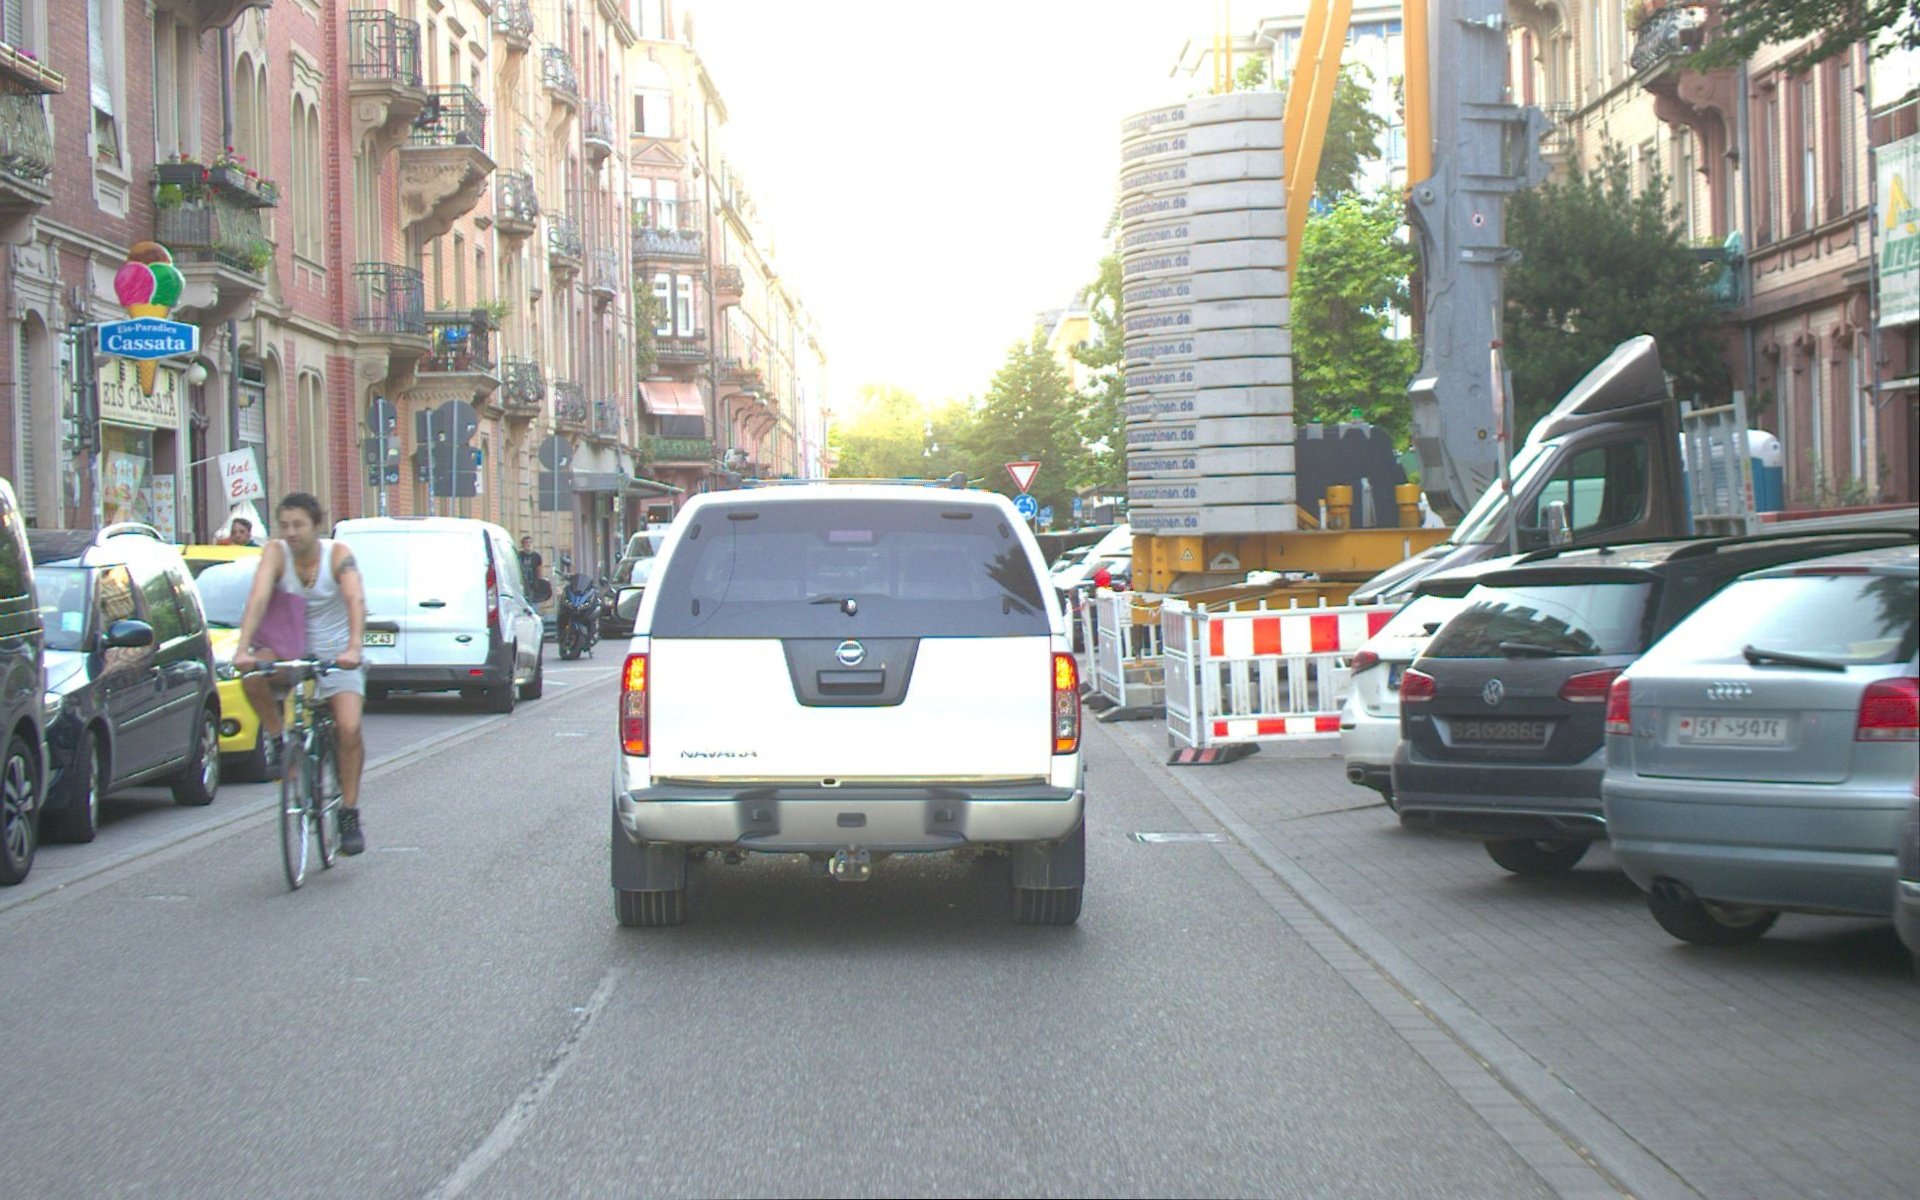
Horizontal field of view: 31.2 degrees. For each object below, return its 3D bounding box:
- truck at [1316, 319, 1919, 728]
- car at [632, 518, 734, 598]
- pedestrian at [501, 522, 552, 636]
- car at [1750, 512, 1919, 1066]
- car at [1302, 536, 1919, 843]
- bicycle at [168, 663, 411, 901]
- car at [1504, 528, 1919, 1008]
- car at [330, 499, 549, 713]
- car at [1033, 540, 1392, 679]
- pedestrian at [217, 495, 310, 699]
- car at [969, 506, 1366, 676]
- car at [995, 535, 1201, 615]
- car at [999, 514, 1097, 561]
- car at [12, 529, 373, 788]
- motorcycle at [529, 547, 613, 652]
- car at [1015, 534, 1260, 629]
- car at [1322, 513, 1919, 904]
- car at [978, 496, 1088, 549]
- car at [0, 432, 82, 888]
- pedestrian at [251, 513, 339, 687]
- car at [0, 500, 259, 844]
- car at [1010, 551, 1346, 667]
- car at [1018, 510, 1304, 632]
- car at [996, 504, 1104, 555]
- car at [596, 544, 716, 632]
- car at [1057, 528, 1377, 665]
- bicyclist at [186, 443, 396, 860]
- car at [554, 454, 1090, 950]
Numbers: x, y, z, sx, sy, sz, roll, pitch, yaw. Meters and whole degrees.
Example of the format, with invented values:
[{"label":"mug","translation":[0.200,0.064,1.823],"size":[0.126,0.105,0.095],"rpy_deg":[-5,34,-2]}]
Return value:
[{"label":"truck","translation":[5.990,-0.530,26.243],"size":[6.320,2.966,2.264],"rpy_deg":[0,-2,1]},{"label":"car","translation":[-5.427,-0.839,67.693],"size":[1.710,1.525,4.000],"rpy_deg":[0,1,-1]},{"label":"pedestrian","translation":[-7.739,-0.376,61.403],"size":[0.788,2.007,0.934],"rpy_deg":[0,1,-1]},{"label":"car","translation":[4.443,0.434,10.082],"size":[3.824,1.525,1.763],"rpy_deg":[-3,1,-26]},{"label":"car","translation":[3.716,0.402,18.097],"size":[3.548,1.459,1.611],"rpy_deg":[-1,1,-31]},{"label":"bicycle","translation":[-3.032,0.798,15.741],"size":[0.800,0.944,2.005],"rpy_deg":[0,1,-3]},{"label":"car","translation":[4.008,0.455,12.469],"size":[3.825,1.432,1.762],"rpy_deg":[-3,2,-35]},{"label":"car","translation":[-4.930,0.024,32.957],"size":[1.559,1.914,3.856],"rpy_deg":[1,1,-1]},{"label":"car","translation":[2.993,0.099,41.263],"size":[4.195,1.616,1.819],"rpy_deg":[0,1,3]},{"label":"pedestrian","translation":[-6.425,-0.034,31.738],"size":[0.738,1.863,0.618],"rpy_deg":[0,1,-2]},{"label":"car","translation":[2.272,-0.107,37.327],"size":[4.196,1.774,1.819],"rpy_deg":[0,1,5]},{"label":"car","translation":[2.857,-0.521,71.172],"size":[4.195,1.616,1.819],"rpy_deg":[0,1,3]},{"label":"car","translation":[4.145,-2.955,162.105],"size":[4.588,2.170,1.819],"rpy_deg":[0,1,3]},{"label":"car","translation":[-5.130,0.336,23.429],"size":[1.499,1.588,3.856],"rpy_deg":[-1,1,1]},{"label":"motorcycle","translation":[-5.388,-0.030,47.730],"size":[0.837,1.411,2.549],"rpy_deg":[0,1,1]},{"label":"car","translation":[3.080,-0.330,59.935],"size":[4.195,1.616,1.819],"rpy_deg":[0,1,3]},{"label":"car","translation":[3.560,0.385,15.242],"size":[3.882,1.525,1.637],"rpy_deg":[-1,1,-40]},{"label":"car","translation":[3.079,-3.237,144.401],"size":[4.588,2.170,1.819],"rpy_deg":[0,1,3]},{"label":"car","translation":[-4.999,0.275,13.341],"size":[1.905,1.919,4.947],"rpy_deg":[0,1,0]},{"label":"pedestrian","translation":[-7.175,-0.006,37.124],"size":[0.617,1.863,0.739],"rpy_deg":[0,1,23]},{"label":"car","translation":[-5.227,0.333,18.701],"size":[1.905,1.657,4.068],"rpy_deg":[-1,1,1]},{"label":"car","translation":[2.800,0.102,43.951],"size":[4.196,1.425,1.819],"rpy_deg":[0,1,5]},{"label":"car","translation":[3.000,-0.448,51.570],"size":[4.195,1.774,1.819],"rpy_deg":[0,1,3]},{"label":"car","translation":[3.905,-3.033,148.700],"size":[4.588,2.170,1.819],"rpy_deg":[0,1,3]},{"label":"car","translation":[-5.427,-0.238,61.799],"size":[1.791,1.525,4.000],"rpy_deg":[0,1,0]},{"label":"car","translation":[3.459,-0.058,46.157],"size":[4.196,1.774,1.819],"rpy_deg":[0,1,5]},{"label":"bicyclist","translation":[-3.038,0.221,15.696],"size":[0.800,1.843,0.944],"rpy_deg":[0,1,-3]},{"label":"car","translation":[-0.528,0.331,14.749],"size":[1.933,1.788,4.622],"rpy_deg":[0,1,-1]}]
